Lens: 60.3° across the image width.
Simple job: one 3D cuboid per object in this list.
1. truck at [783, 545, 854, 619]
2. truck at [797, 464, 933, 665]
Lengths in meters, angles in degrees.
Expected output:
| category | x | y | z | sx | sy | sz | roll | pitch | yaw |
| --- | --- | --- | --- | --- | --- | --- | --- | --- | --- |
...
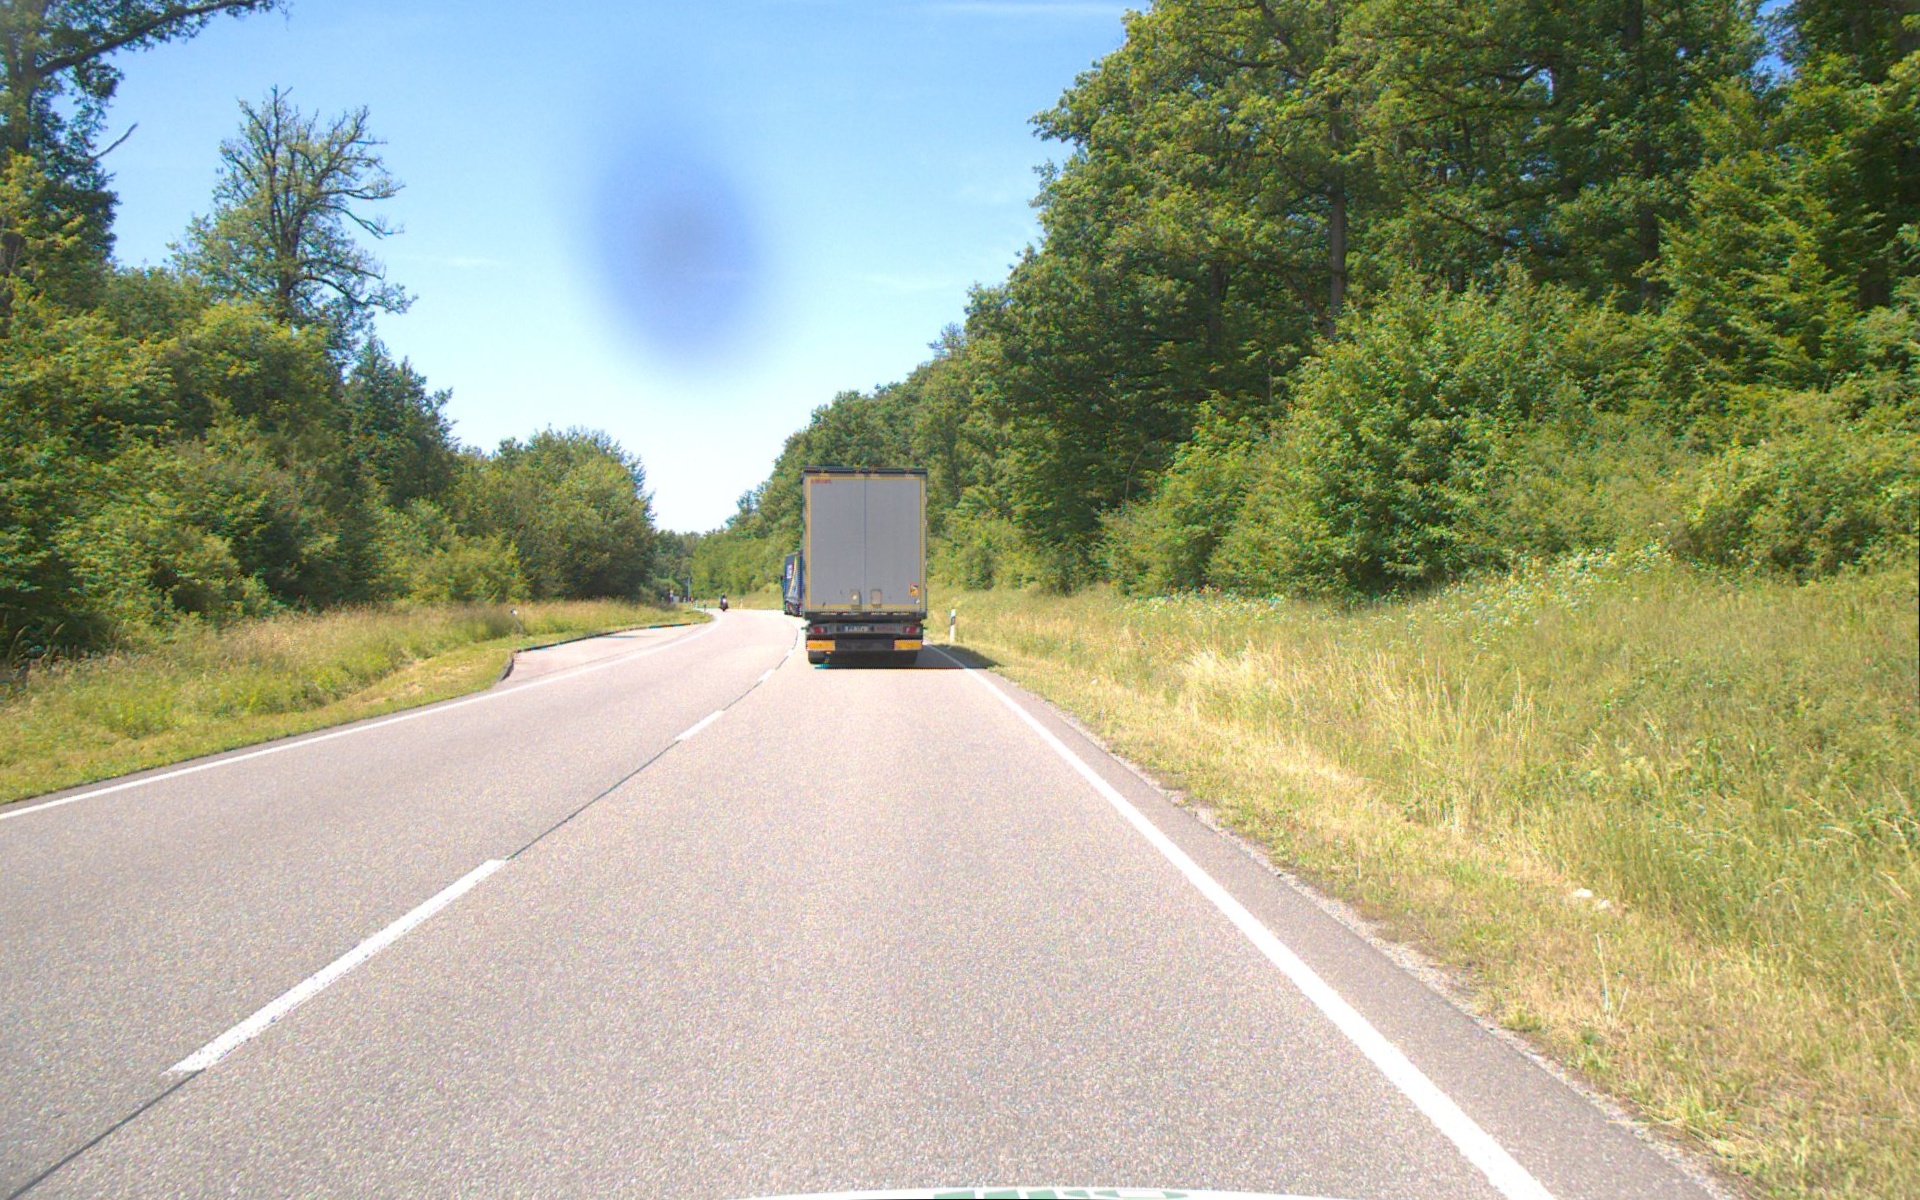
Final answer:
| category | x | y | z | sx | sy | sz | roll | pitch | yaw |
| --- | --- | --- | --- | --- | --- | --- | --- | --- | --- |
| truck | -9.470 | -1.116 | 108.908 | 3.723 | 4.449 | 14.891 | 1 | 0 | -8 |
| truck | -2.178 | -0.713 | 39.167 | 2.706 | 4.016 | 12.191 | 0 | 0 | -3 |
